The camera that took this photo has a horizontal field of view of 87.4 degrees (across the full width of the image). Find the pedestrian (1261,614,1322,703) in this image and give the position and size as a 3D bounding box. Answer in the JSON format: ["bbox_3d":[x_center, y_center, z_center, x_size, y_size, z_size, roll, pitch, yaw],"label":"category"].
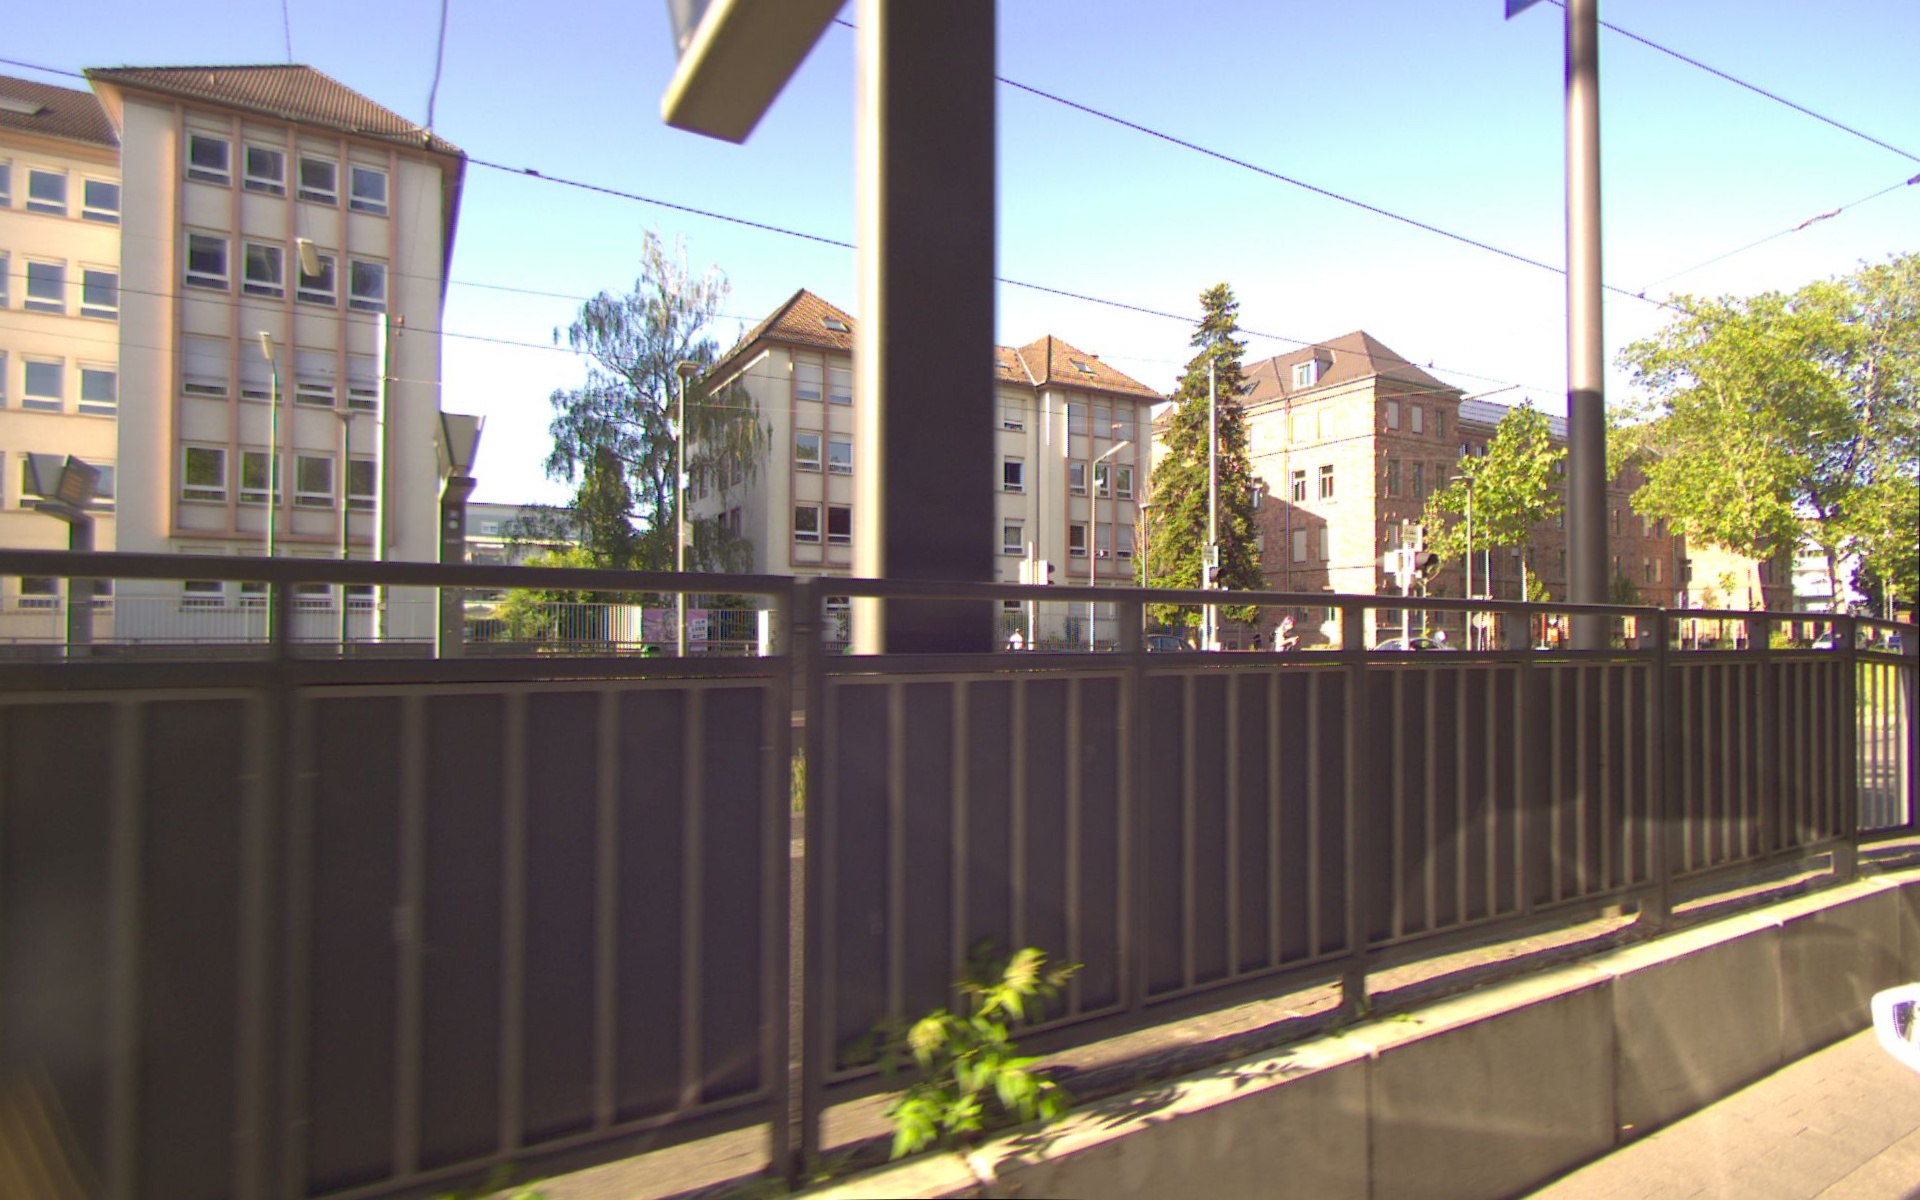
[{"bbox_3d":[6.747,1.178,20.478,0.721,1.759,0.949,1,-1,-27],"label":"pedestrian"}]

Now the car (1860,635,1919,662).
[{"bbox_3d":[62.553,3.221,67.285,4.769,1.671,1.985,1,-2,-30],"label":"car"}]

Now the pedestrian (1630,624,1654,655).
[{"bbox_3d":[43.038,2.469,63.376,0.930,1.924,0.897,1,-2,-29],"label":"pedestrian"}]

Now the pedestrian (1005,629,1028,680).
[{"bbox_3d":[2.116,2.032,37.579,0.566,1.861,0.689,1,-2,-31],"label":"pedestrian"}]

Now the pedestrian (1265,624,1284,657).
[{"bbox_3d":[16.709,2.151,53.375,0.672,1.718,0.820,-1,-2,41],"label":"pedestrian"}]

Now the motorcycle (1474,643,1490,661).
[{"bbox_3d":[29.079,2.884,55.926,1.034,0.959,0.332,1,-2,-34],"label":"motorcycle"}]

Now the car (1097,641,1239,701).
[{"bbox_3d":[6.569,2.190,31.719,4.095,1.729,1.987,1,-2,-27],"label":"car"}]

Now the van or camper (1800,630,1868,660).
[{"bbox_3d":[53.944,2.785,61.964,4.384,1.811,1.983,2,-3,-32],"label":"van or camper"}]

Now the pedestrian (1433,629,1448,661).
[{"bbox_3d":[26.002,2.422,54.369,0.670,1.718,0.882,0,-1,32],"label":"pedestrian"}]

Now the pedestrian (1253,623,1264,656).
[{"bbox_3d":[15.830,2.092,53.317,0.443,1.718,0.374,1,-1,-24],"label":"pedestrian"}]

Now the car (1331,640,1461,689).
[{"bbox_3d":[15.563,2.250,35.827,4.413,1.644,1.761,1,-2,-24],"label":"car"}]

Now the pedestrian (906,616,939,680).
[{"bbox_3d":[-1.199,1.536,32.289,0.850,2.040,0.659,1,-2,-31],"label":"pedestrian"}]
